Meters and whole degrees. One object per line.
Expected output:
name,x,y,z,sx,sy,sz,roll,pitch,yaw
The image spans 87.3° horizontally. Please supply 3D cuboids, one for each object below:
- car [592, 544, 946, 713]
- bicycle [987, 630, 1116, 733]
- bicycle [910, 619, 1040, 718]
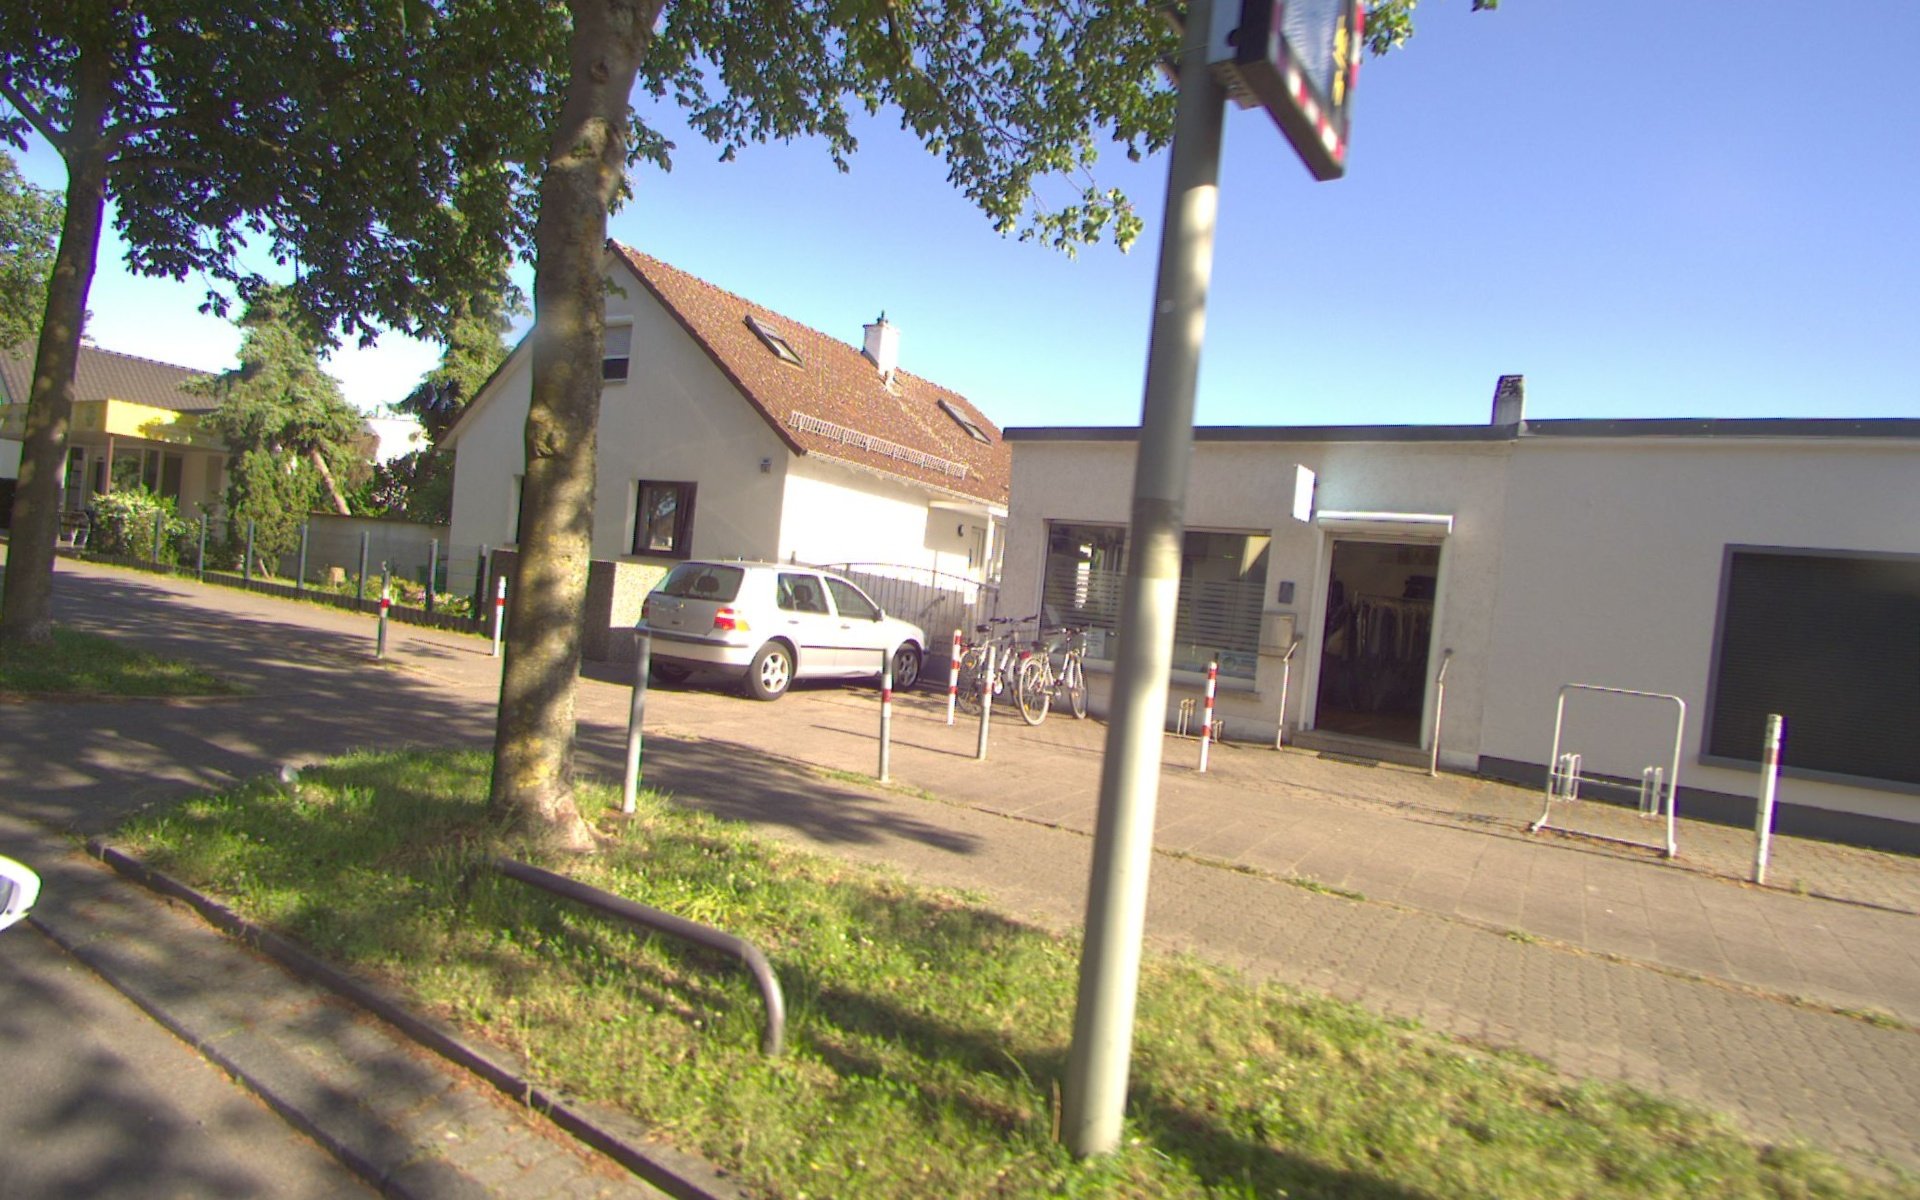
car,-2.073,0.328,12.029,1.870,1.508,3.989,8,2,31
bicycle,1.081,0.889,11.396,0.566,1.011,1.959,8,2,30
bicycle,0.220,0.781,11.832,0.566,1.011,1.925,8,2,30
